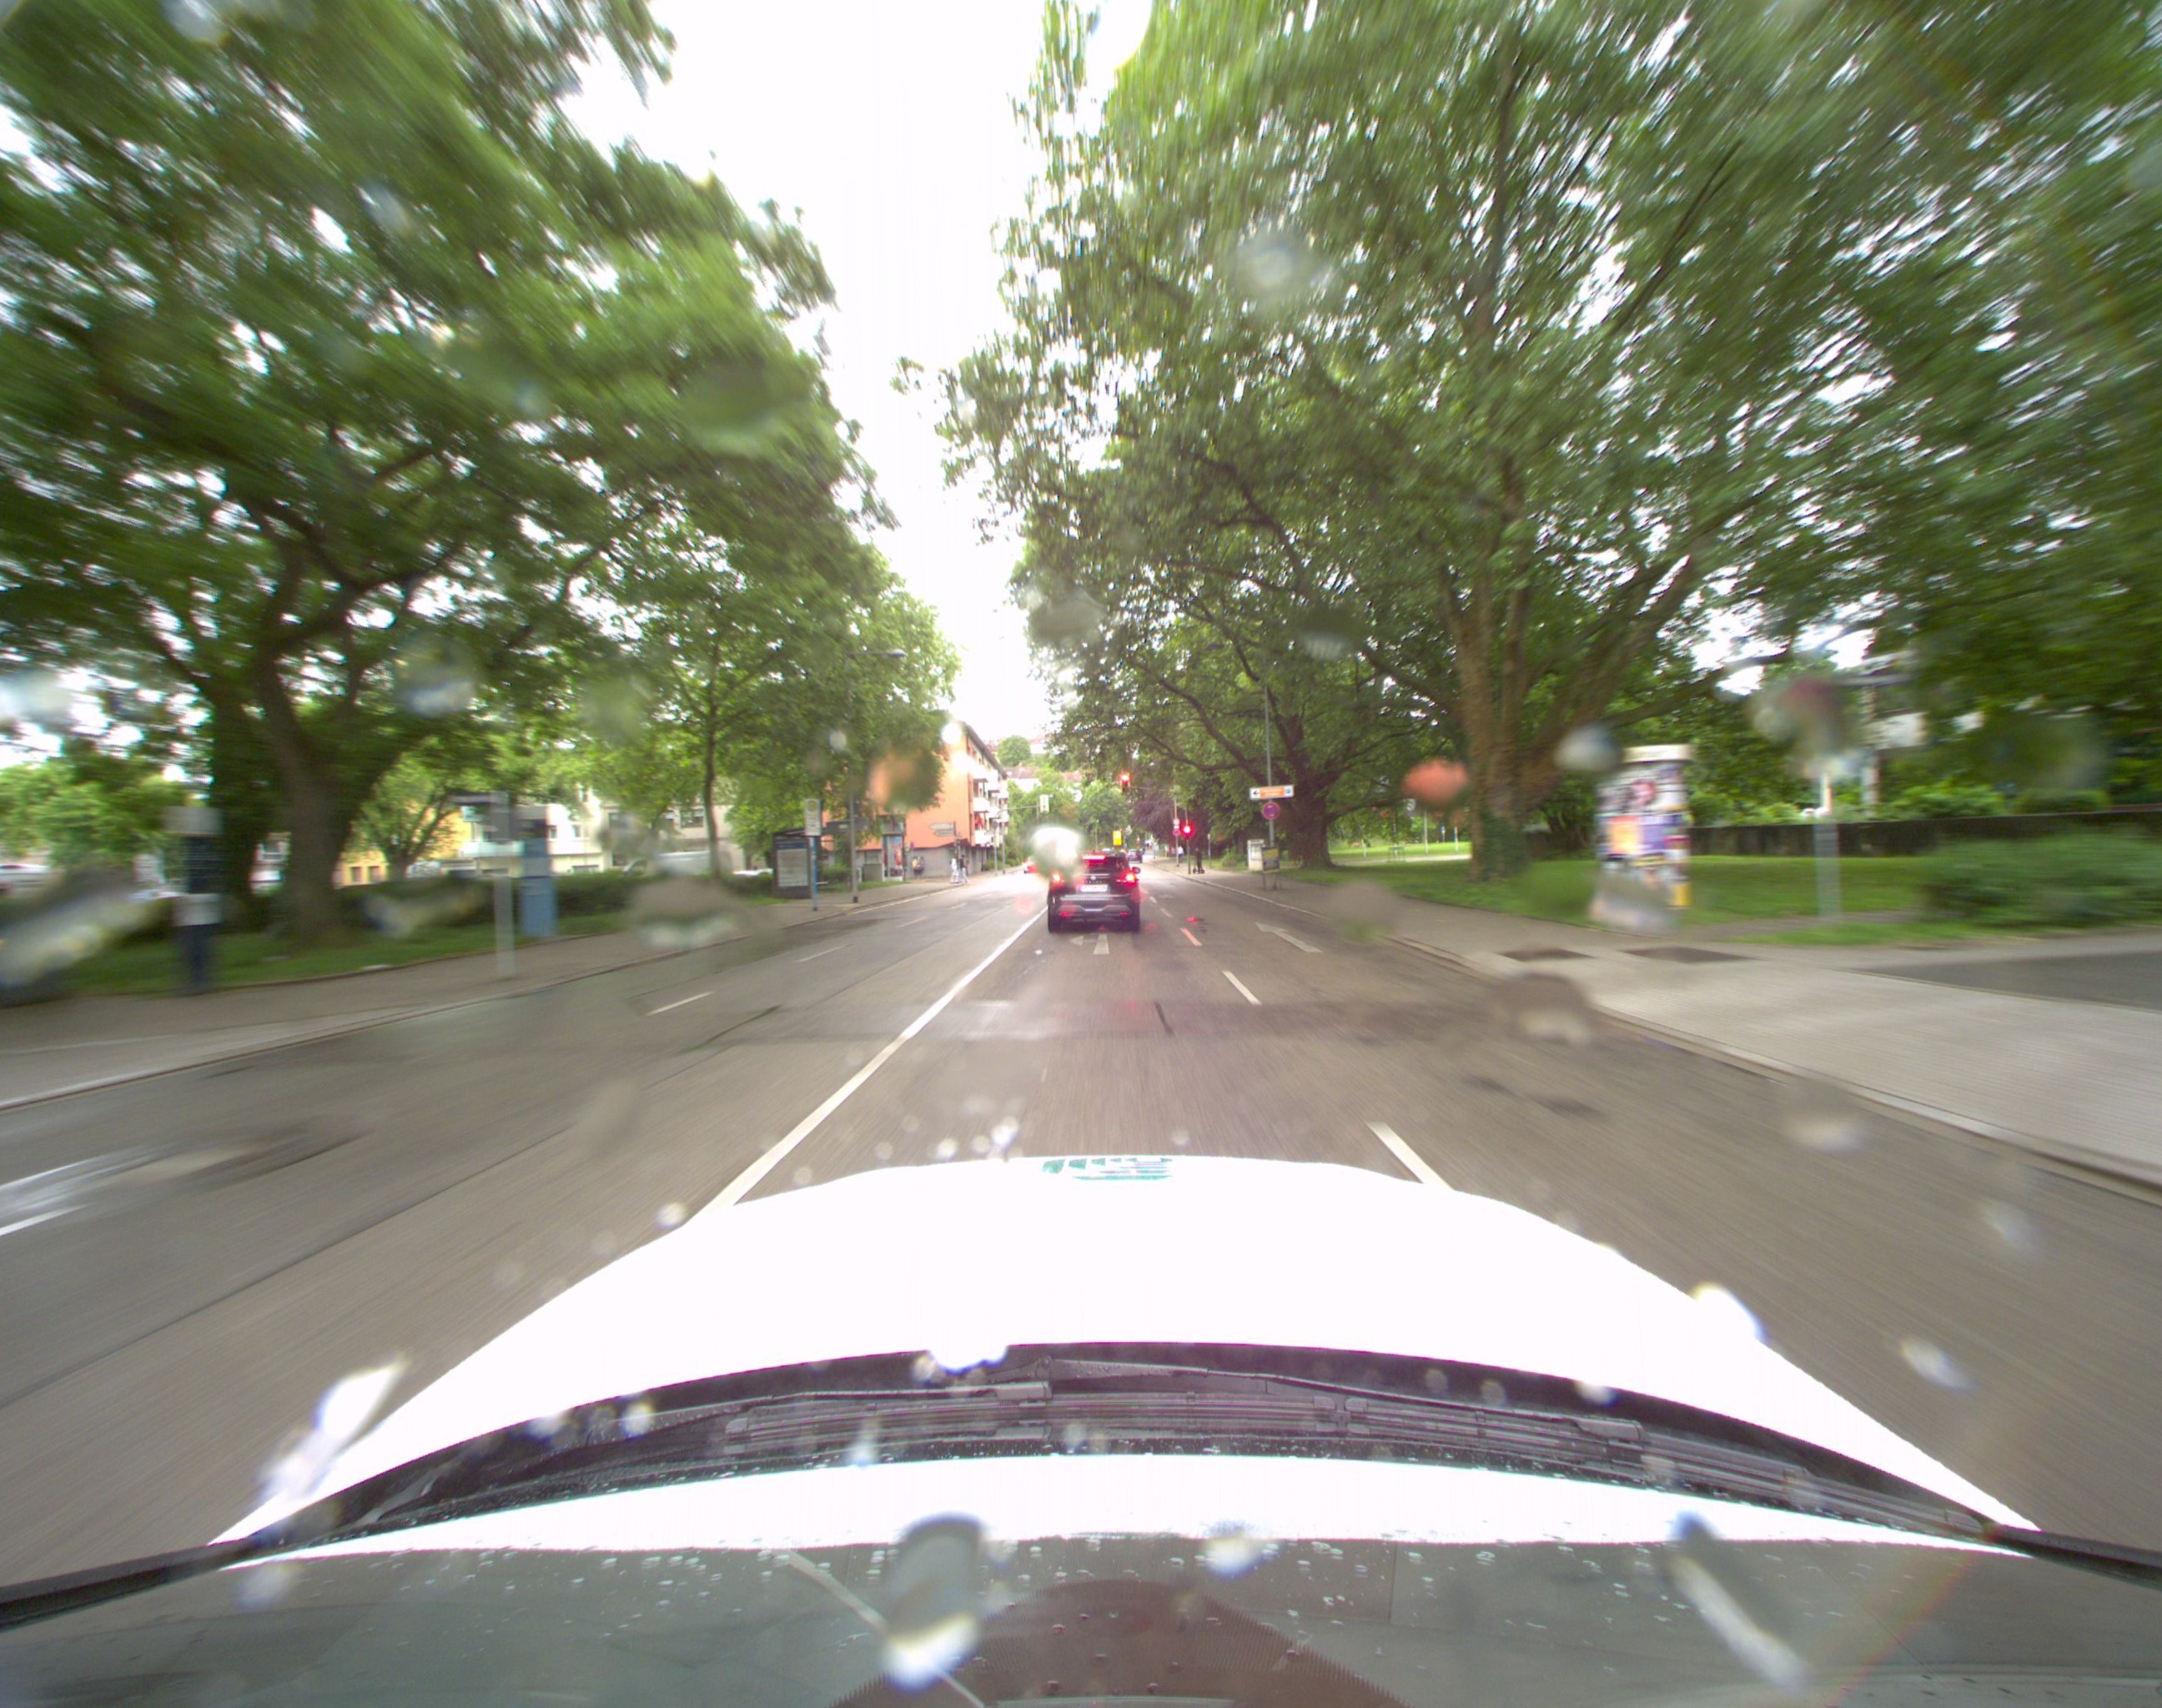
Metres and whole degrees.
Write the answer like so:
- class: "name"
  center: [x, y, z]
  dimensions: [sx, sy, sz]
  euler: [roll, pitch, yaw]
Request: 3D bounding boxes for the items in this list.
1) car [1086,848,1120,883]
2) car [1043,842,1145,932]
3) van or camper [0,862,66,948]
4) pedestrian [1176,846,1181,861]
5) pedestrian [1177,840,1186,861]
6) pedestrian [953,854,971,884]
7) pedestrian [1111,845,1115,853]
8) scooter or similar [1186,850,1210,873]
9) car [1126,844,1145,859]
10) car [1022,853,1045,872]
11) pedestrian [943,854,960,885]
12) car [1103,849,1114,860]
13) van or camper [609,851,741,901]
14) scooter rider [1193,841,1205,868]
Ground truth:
- class: "car"
  center: [1.186, 0.581, 43.653]
  dimensions: [1.692, 1.745, 3.642]
  euler: [-3, 0, 2]
- class: "car"
  center: [0.317, 0.606, 17.342]
  dimensions: [1.906, 1.680, 4.002]
  euler: [0, 0, 2]
- class: "van or camper"
  center: [-33.165, 1.561, 23.843]
  dimensions: [4.310, 2.431, 2.101]
  euler: [-2, 0, 2]
- class: "pedestrian"
  center: [10.137, -0.061, 85.033]
  dimensions: [0.388, 1.502, 0.559]
  euler: [-3, 0, 1]
- class: "pedestrian"
  center: [9.918, -0.379, 80.641]
  dimensions: [0.722, 2.013, 0.852]
  euler: [-3, 0, 1]
- class: "pedestrian"
  center: [-7.429, 0.926, 50.821]
  dimensions: [1.035, 1.876, 0.656]
  euler: [-1, 0, -10]
- class: "pedestrian"
  center: [6.433, -0.991, 164.897]
  dimensions: [0.503, 1.673, 0.663]
  euler: [-3, 0, 29]
- class: "scooter or similar"
  center: [7.662, 0.502, 53.235]
  dimensions: [1.384, 1.446, 0.820]
  euler: [-2, -1, 13]
- class: "car"
  center: [6.259, -0.285, 92.877]
  dimensions: [1.983, 1.735, 4.007]
  euler: [0, 0, 6]
- class: "car"
  center: [-4.112, 0.740, 71.025]
  dimensions: [1.791, 1.533, 3.864]
  euler: [-3, 0, -2]
- class: "pedestrian"
  center: [-7.946, 0.921, 49.943]
  dimensions: [1.035, 1.876, 0.656]
  euler: [-1, 0, -10]
- class: "car"
  center: [4.240, 0.055, 126.299]
  dimensions: [1.628, 1.532, 3.969]
  euler: [-3, 0, 2]
- class: "van or camper"
  center: [-17.352, 0.912, 34.988]
  dimensions: [4.582, 1.949, 1.999]
  euler: [-2, 0, -1]
- class: "scooter rider"
  center: [7.706, 0.036, 53.174]
  dimensions: [0.639, 1.766, 0.738]
  euler: [-2, -1, 13]
